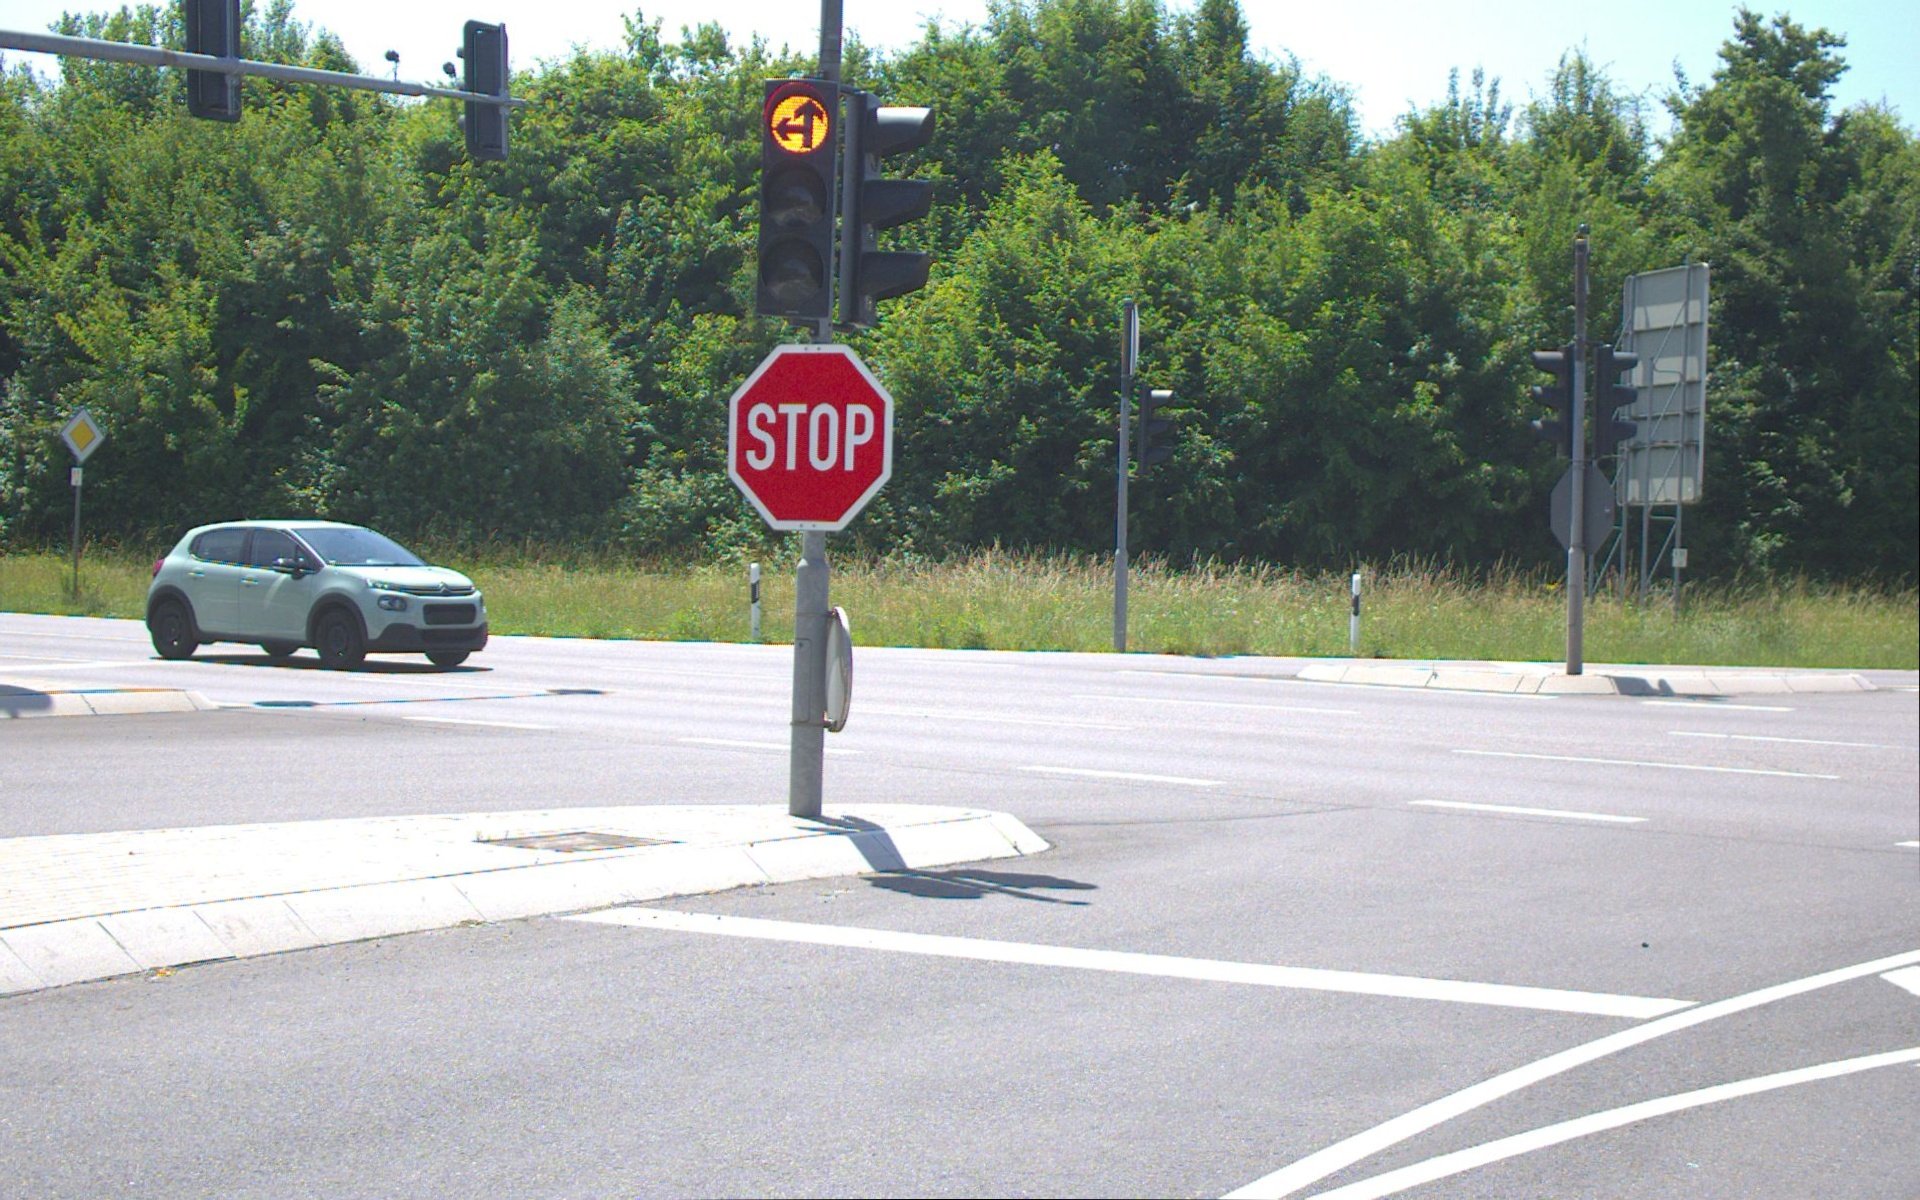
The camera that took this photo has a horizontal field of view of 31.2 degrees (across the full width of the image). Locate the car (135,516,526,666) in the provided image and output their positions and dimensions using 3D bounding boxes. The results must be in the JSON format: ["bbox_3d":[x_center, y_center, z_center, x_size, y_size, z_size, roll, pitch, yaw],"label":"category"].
[{"bbox_3d":[-6.598,-0.136,35.869,3.982,1.399,1.731,2,3,35],"label":"car"}]
